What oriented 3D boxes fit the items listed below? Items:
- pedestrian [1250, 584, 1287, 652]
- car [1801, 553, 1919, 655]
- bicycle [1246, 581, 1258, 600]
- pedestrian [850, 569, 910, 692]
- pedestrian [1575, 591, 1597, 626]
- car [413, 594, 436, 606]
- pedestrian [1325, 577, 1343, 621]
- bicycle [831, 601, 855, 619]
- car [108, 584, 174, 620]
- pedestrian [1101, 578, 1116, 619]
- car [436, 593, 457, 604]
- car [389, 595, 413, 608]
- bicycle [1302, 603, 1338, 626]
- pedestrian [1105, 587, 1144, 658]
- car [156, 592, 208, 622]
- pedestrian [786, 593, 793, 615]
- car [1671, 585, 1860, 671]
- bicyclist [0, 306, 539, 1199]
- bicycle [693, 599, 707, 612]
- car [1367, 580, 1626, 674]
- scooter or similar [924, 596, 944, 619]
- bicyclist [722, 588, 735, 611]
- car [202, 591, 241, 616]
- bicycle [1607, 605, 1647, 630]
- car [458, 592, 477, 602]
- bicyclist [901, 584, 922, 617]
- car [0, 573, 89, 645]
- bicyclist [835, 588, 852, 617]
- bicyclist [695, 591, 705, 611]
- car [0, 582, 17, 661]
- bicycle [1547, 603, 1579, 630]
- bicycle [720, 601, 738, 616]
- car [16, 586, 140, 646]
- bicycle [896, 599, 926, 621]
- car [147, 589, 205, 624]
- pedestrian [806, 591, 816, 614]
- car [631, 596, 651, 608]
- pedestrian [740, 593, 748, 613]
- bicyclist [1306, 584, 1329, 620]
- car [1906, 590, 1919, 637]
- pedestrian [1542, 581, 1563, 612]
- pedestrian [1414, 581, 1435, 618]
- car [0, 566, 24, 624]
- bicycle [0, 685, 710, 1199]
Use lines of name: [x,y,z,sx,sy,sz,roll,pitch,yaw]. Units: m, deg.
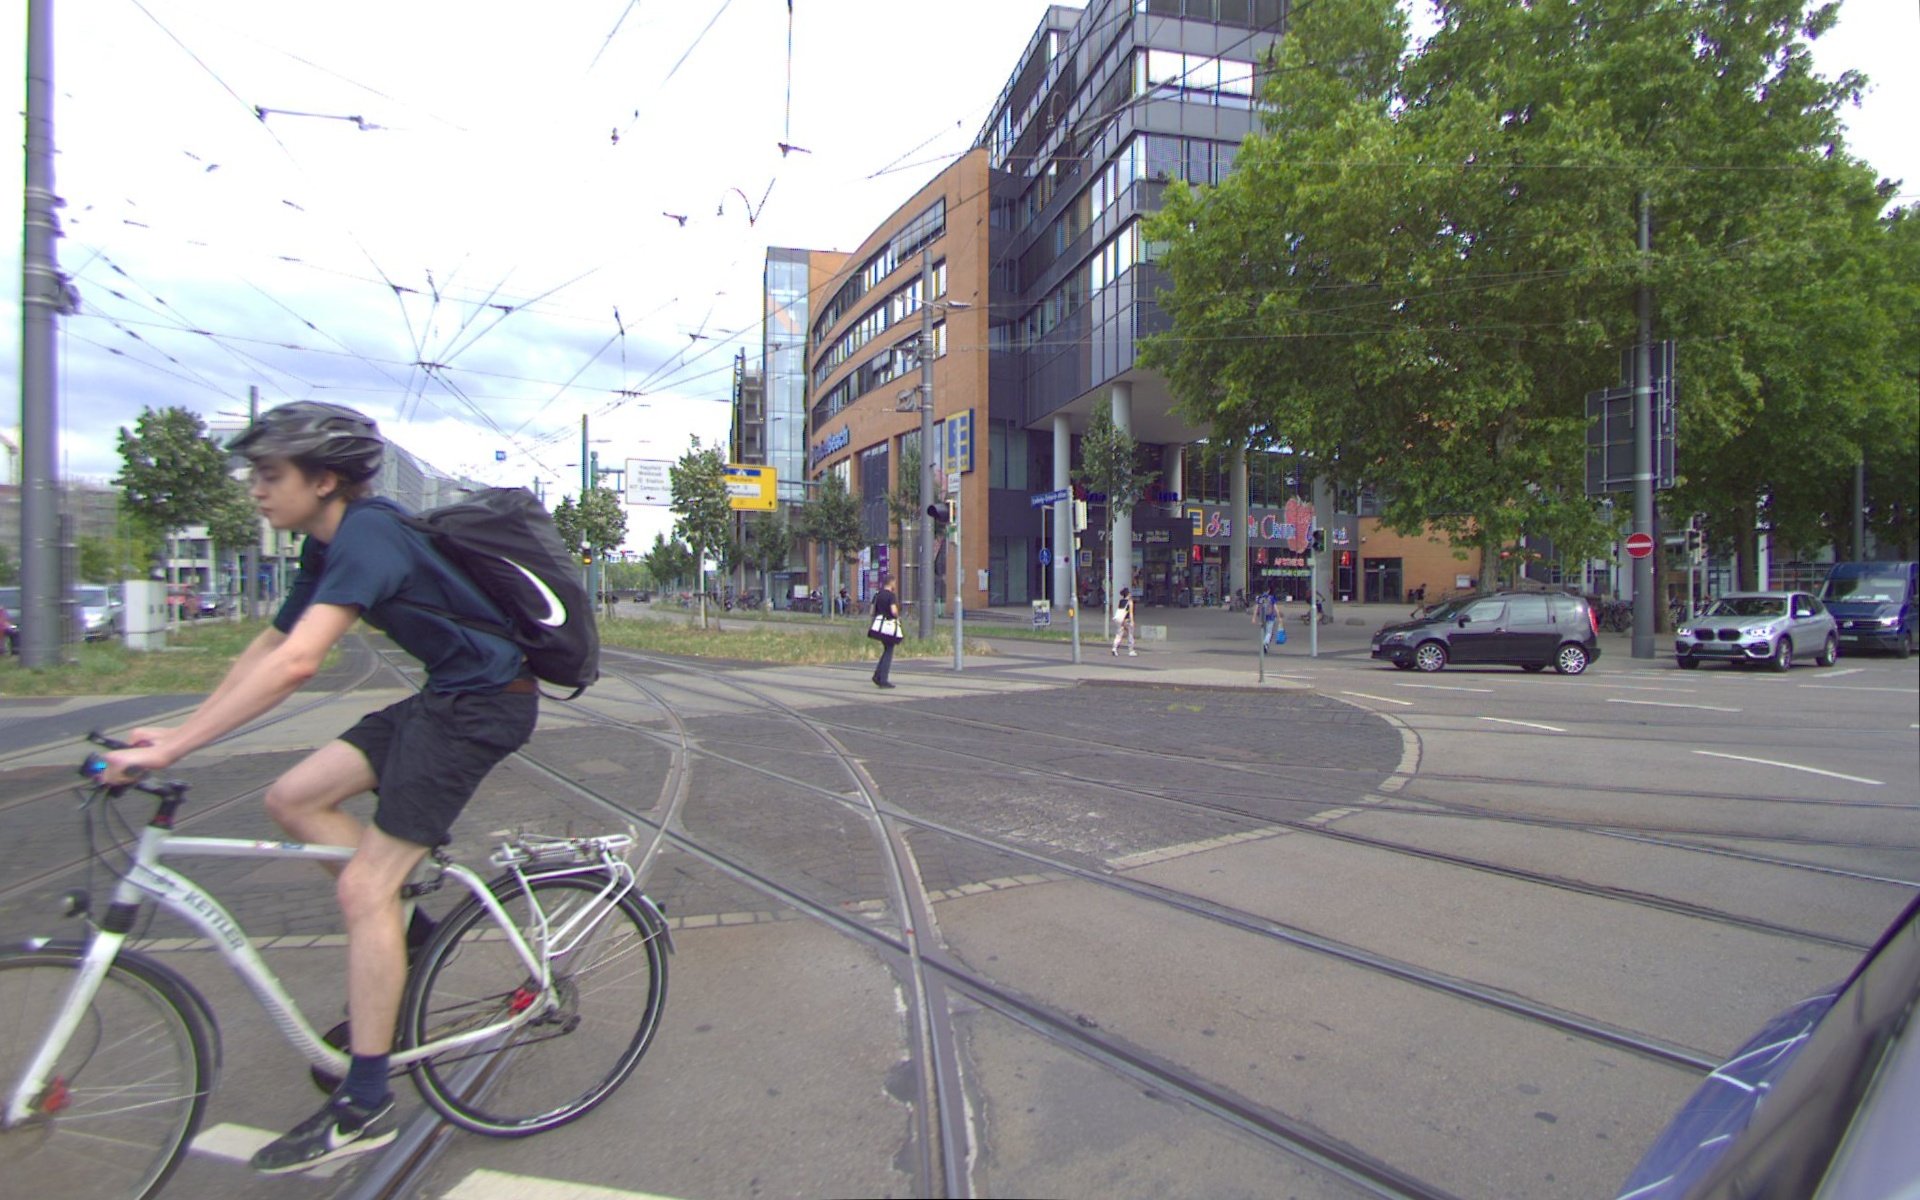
pedestrian: [8.114,0.466,26.622,0.729,1.753,0.588,0,0,-31]
car: [25.269,0.079,27.433,6.865,2.487,2.175,0,0,-36]
bicycle: [14.612,-0.489,50.645,0.528,0.928,1.558,0,1,13]
pedestrian: [-1.232,0.447,15.476,0.657,1.814,0.678,0,0,-37]
pedestrian: [28.216,0.371,45.630,0.668,1.529,0.588,-1,1,-27]
car: [-80.025,-0.015,151.259,1.958,1.772,4.172,0,0,-13]
pedestrian: [16.288,-0.051,44.084,0.504,1.890,0.547,1,0,-12]
bicycle: [-6.796,0.568,58.832,0.625,1.023,2.007,0,1,-32]
car: [-37.645,0.054,46.587,1.787,1.552,4.003,-2,1,-31]
pedestrian: [7.030,-0.078,47.872,0.617,1.890,0.670,1,0,16]
car: [-82.311,-0.238,162.326,1.958,1.772,4.172,0,0,-11]
car: [-77.729,0.195,140.756,1.958,1.772,4.173,0,0,-17]
bicycle: [15.040,0.584,42.251,1.510,0.928,0.536,-1,1,-29]
pedestrian: [3.954,0.520,24.323,0.729,1.672,0.588,0,0,-31]
car: [-43.209,0.334,56.287,1.787,1.552,4.003,-2,1,-31]
pedestrian: [-12.736,0.275,75.684,0.475,1.619,0.448,0,0,-15]
car: [17.524,0.555,21.953,4.550,1.682,1.964,0,-1,-35]
bicyclist: [-1.614,0.349,2.382,1.016,1.793,0.591,0,0,-39]
bicycle: [-19.783,0.447,76.944,0.526,0.946,1.794,0,1,-32]
car: [10.555,0.504,20.211,4.107,1.760,1.962,0,0,6]
scooter or similar: [-1.374,0.386,52.922,0.476,1.182,1.477,0,1,-26]
bicyclist: [-16.950,-0.025,74.174,0.625,1.636,0.979,1,0,-32]
car: [-48.260,0.197,66.175,1.675,1.552,4.003,-2,1,-31]
bicycle: [25.357,0.659,38.456,1.688,0.928,0.536,-1,1,-29]
car: [-84.968,-0.484,174.619,1.958,1.772,4.172,0,0,-11]
bicyclist: [-2.423,0.035,50.620,0.625,1.636,0.979,1,0,-32]
car: [-20.727,0.177,22.188,1.787,1.451,4.003,-2,1,-31]
bicyclist: [-6.778,0.146,58.811,0.625,1.636,0.979,-1,1,-32]
bicyclist: [-19.773,0.062,76.905,0.523,1.460,0.844,0,0,-33]
car: [-17.887,0.422,17.269,1.787,1.451,4.003,-2,1,-31]
bicycle: [24.094,0.647,40.429,1.692,1.062,0.595,-1,1,-40]
bicycle: [-16.916,0.593,74.103,0.625,1.024,2.007,0,1,-32]
car: [-23.597,0.373,27.233,1.787,1.451,4.003,-2,1,-31]
bicycle: [-2.469,0.487,50.671,0.625,1.024,2.007,0,1,-32]
car: [-40.273,0.295,52.088,1.787,1.687,4.414,-2,1,-31]
pedestrian: [-10.429,0.151,70.851,0.603,1.619,0.448,0,0,-15]
car: [-43.550,0.274,138.241,1.730,1.640,4.003,0,1,-3]
pedestrian: [-17.310,0.253,81.133,0.438,1.619,0.486,0,0,-31]
bicyclist: [14.898,0.079,42.172,0.723,1.450,0.532,0,0,-29]
car: [31.587,0.403,31.871,4.192,1.435,1.759,-1,2,-34]
pedestrian: [29.508,-0.190,50.400,0.668,1.529,0.589,-1,1,-15]
pedestrian: [22.460,-0.034,48.958,0.730,1.753,0.587,0,0,4]
car: [-26.760,-0.118,27.022,1.787,1.552,4.003,-2,1,-31]
bicycle: [-1.578,0.851,2.411,1.825,1.153,0.595,0,0,-39]
